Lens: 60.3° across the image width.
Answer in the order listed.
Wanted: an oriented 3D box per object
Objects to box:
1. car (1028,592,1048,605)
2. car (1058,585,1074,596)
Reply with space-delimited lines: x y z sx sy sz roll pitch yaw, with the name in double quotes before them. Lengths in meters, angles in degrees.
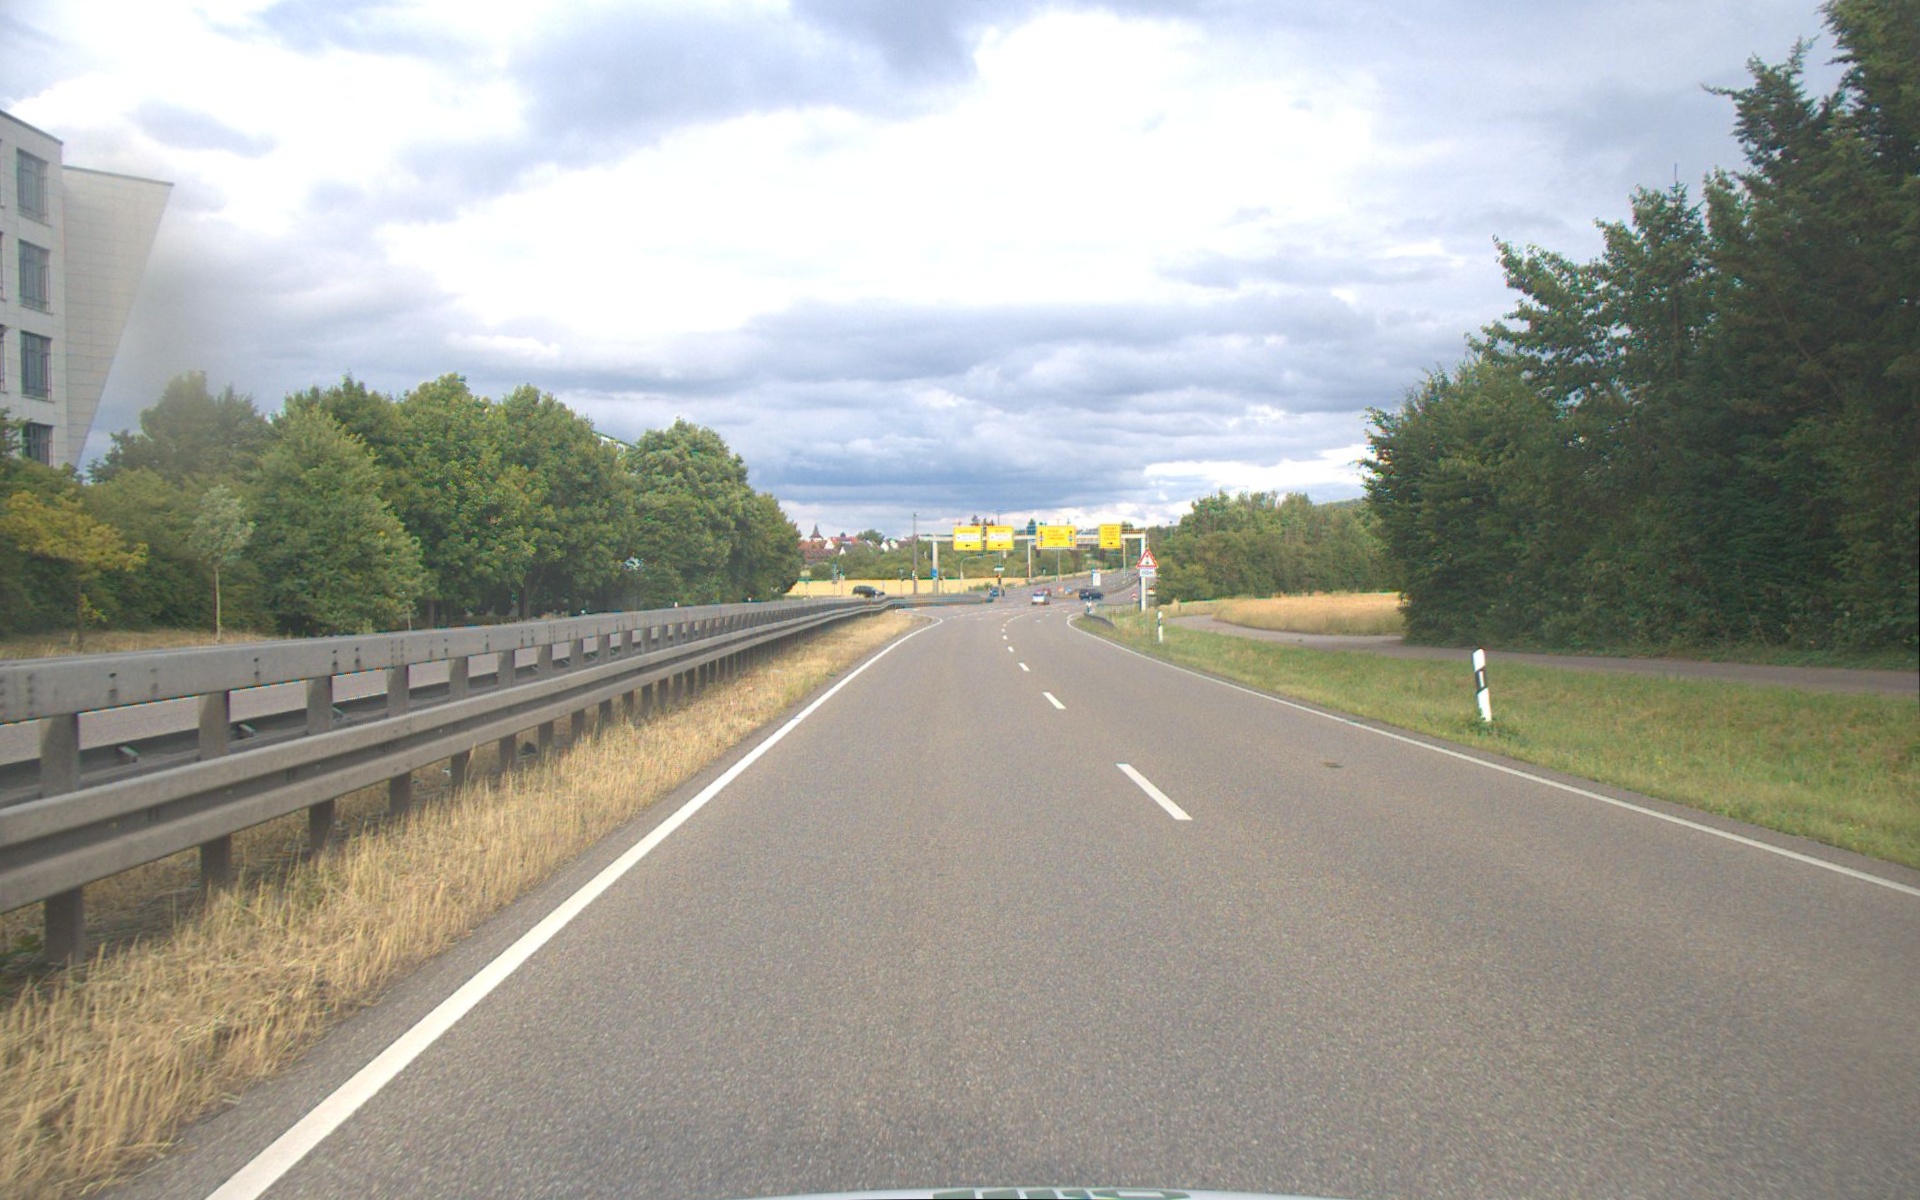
"car" 9.354 -0.160 197.395 1.759 1.583 4.003 0 0 12
"car" 15.314 -1.412 239.178 1.759 1.583 4.003 0 0 12
